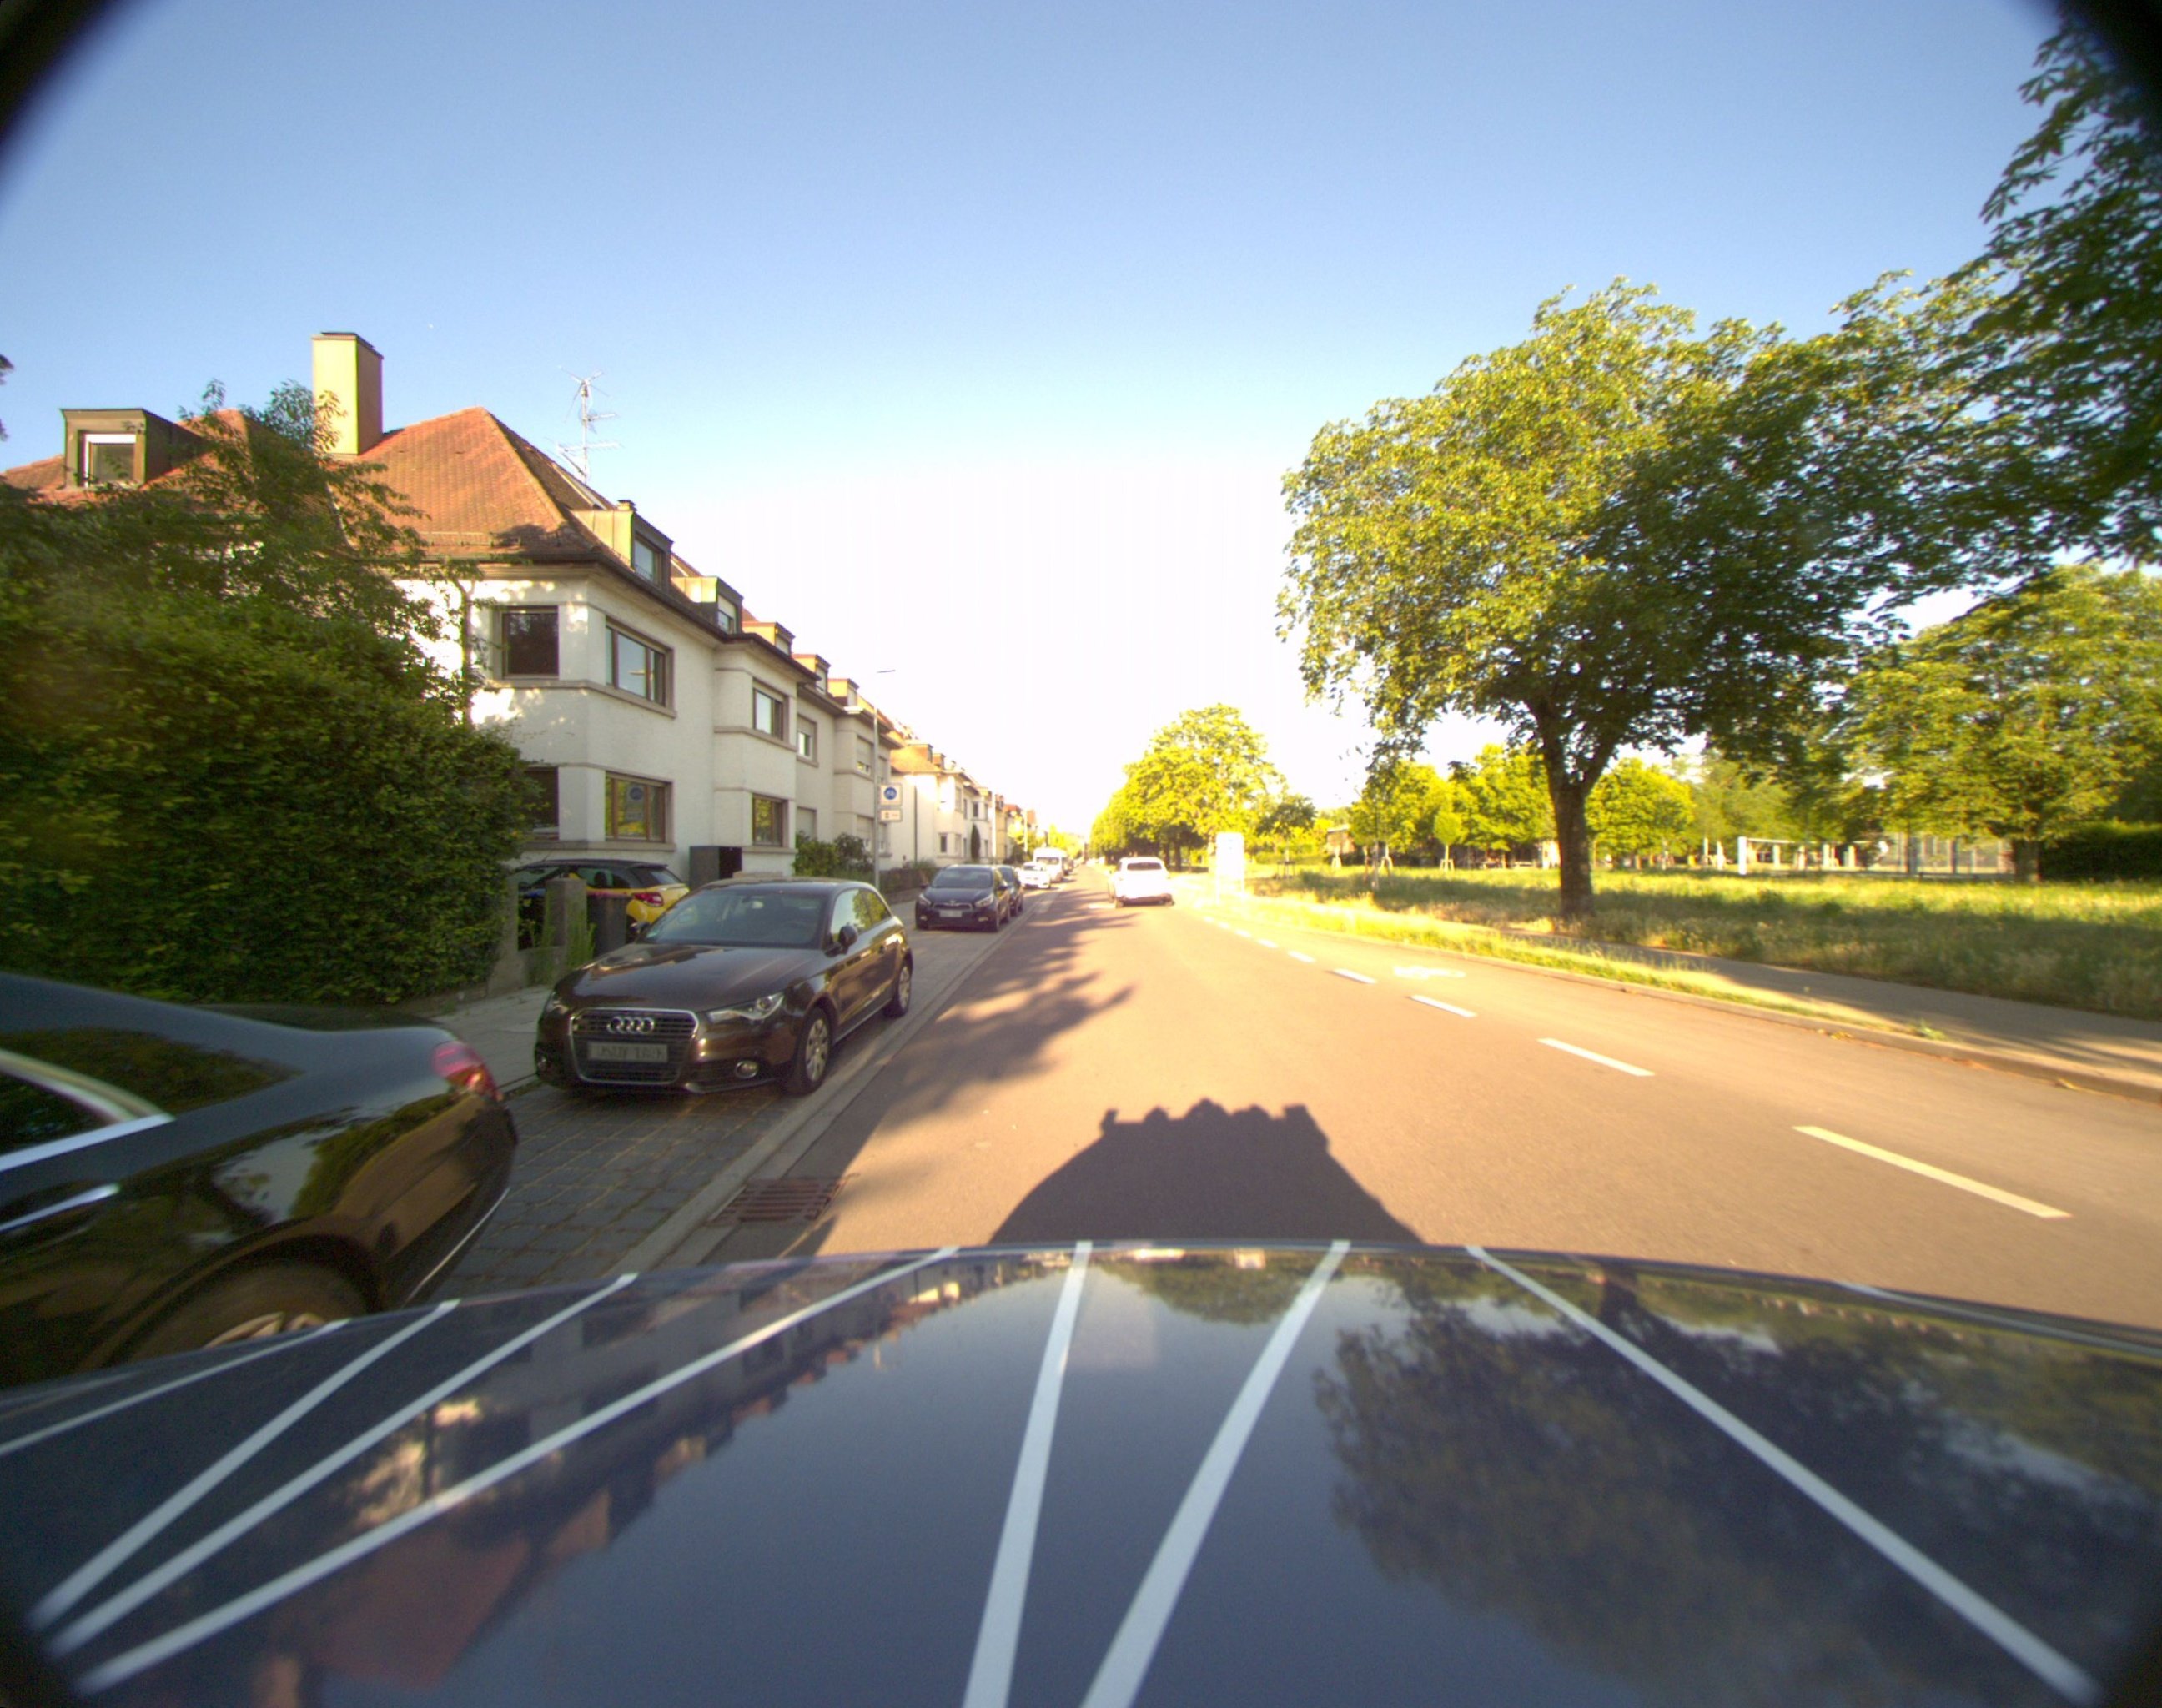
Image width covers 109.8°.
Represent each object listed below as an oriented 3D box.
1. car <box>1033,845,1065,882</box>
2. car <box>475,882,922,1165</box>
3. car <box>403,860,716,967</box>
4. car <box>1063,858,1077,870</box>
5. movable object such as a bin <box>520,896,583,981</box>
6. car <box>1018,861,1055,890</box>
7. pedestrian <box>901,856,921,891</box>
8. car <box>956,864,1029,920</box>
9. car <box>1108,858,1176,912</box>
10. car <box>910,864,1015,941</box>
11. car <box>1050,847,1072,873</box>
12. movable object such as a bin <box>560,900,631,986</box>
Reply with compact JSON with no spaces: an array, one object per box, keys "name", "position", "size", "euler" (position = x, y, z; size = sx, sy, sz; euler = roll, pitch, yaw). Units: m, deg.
[{"name":"car","position":[-2.274,0.655,55.095],"size":[2.135,2.503,5.508],"euler":[1,0,-1]},{"name":"car","position":[-2.558,1.023,6.229],"size":[1.645,1.419,3.936],"euler":[1,0,0]},{"name":"car","position":[-8.028,0.886,11.994],"size":[3.644,1.487,1.780],"euler":[1,0,-3]},{"name":"car","position":[-1.566,1.477,112.181],"size":[1.974,1.630,4.000],"euler":[0,0,1]},{"name":"movable object such as a bin","position":[-6.831,1.079,9.817],"size":[0.509,1.037,0.417],"euler":[-1,0,-5]},{"name":"car","position":[-2.417,1.142,41.956],"size":[1.787,1.498,4.233],"euler":[-1,0,0]},{"name":"pedestrian","position":[-9.913,1.133,44.335],"size":[1.089,2.002,0.865],"euler":[-1,0,-15]},{"name":"car","position":[-2.595,1.083,23.082],"size":[1.723,1.463,3.983],"euler":[2,0,0]},{"name":"car","position":[2.006,0.979,26.160],"size":[1.896,1.667,4.424],"euler":[-1,0,-1]},{"name":"car","position":[-2.615,1.023,17.749],"size":[1.751,1.466,4.255],"euler":[3,0,0]},{"name":"car","position":[-2.209,0.707,85.775],"size":[2.134,2.837,5.987],"euler":[-1,0,1]},{"name":"movable object such as a bin","position":[-6.267,1.132,9.838],"size":[0.509,1.037,0.658],"euler":[-1,0,-5]}]
